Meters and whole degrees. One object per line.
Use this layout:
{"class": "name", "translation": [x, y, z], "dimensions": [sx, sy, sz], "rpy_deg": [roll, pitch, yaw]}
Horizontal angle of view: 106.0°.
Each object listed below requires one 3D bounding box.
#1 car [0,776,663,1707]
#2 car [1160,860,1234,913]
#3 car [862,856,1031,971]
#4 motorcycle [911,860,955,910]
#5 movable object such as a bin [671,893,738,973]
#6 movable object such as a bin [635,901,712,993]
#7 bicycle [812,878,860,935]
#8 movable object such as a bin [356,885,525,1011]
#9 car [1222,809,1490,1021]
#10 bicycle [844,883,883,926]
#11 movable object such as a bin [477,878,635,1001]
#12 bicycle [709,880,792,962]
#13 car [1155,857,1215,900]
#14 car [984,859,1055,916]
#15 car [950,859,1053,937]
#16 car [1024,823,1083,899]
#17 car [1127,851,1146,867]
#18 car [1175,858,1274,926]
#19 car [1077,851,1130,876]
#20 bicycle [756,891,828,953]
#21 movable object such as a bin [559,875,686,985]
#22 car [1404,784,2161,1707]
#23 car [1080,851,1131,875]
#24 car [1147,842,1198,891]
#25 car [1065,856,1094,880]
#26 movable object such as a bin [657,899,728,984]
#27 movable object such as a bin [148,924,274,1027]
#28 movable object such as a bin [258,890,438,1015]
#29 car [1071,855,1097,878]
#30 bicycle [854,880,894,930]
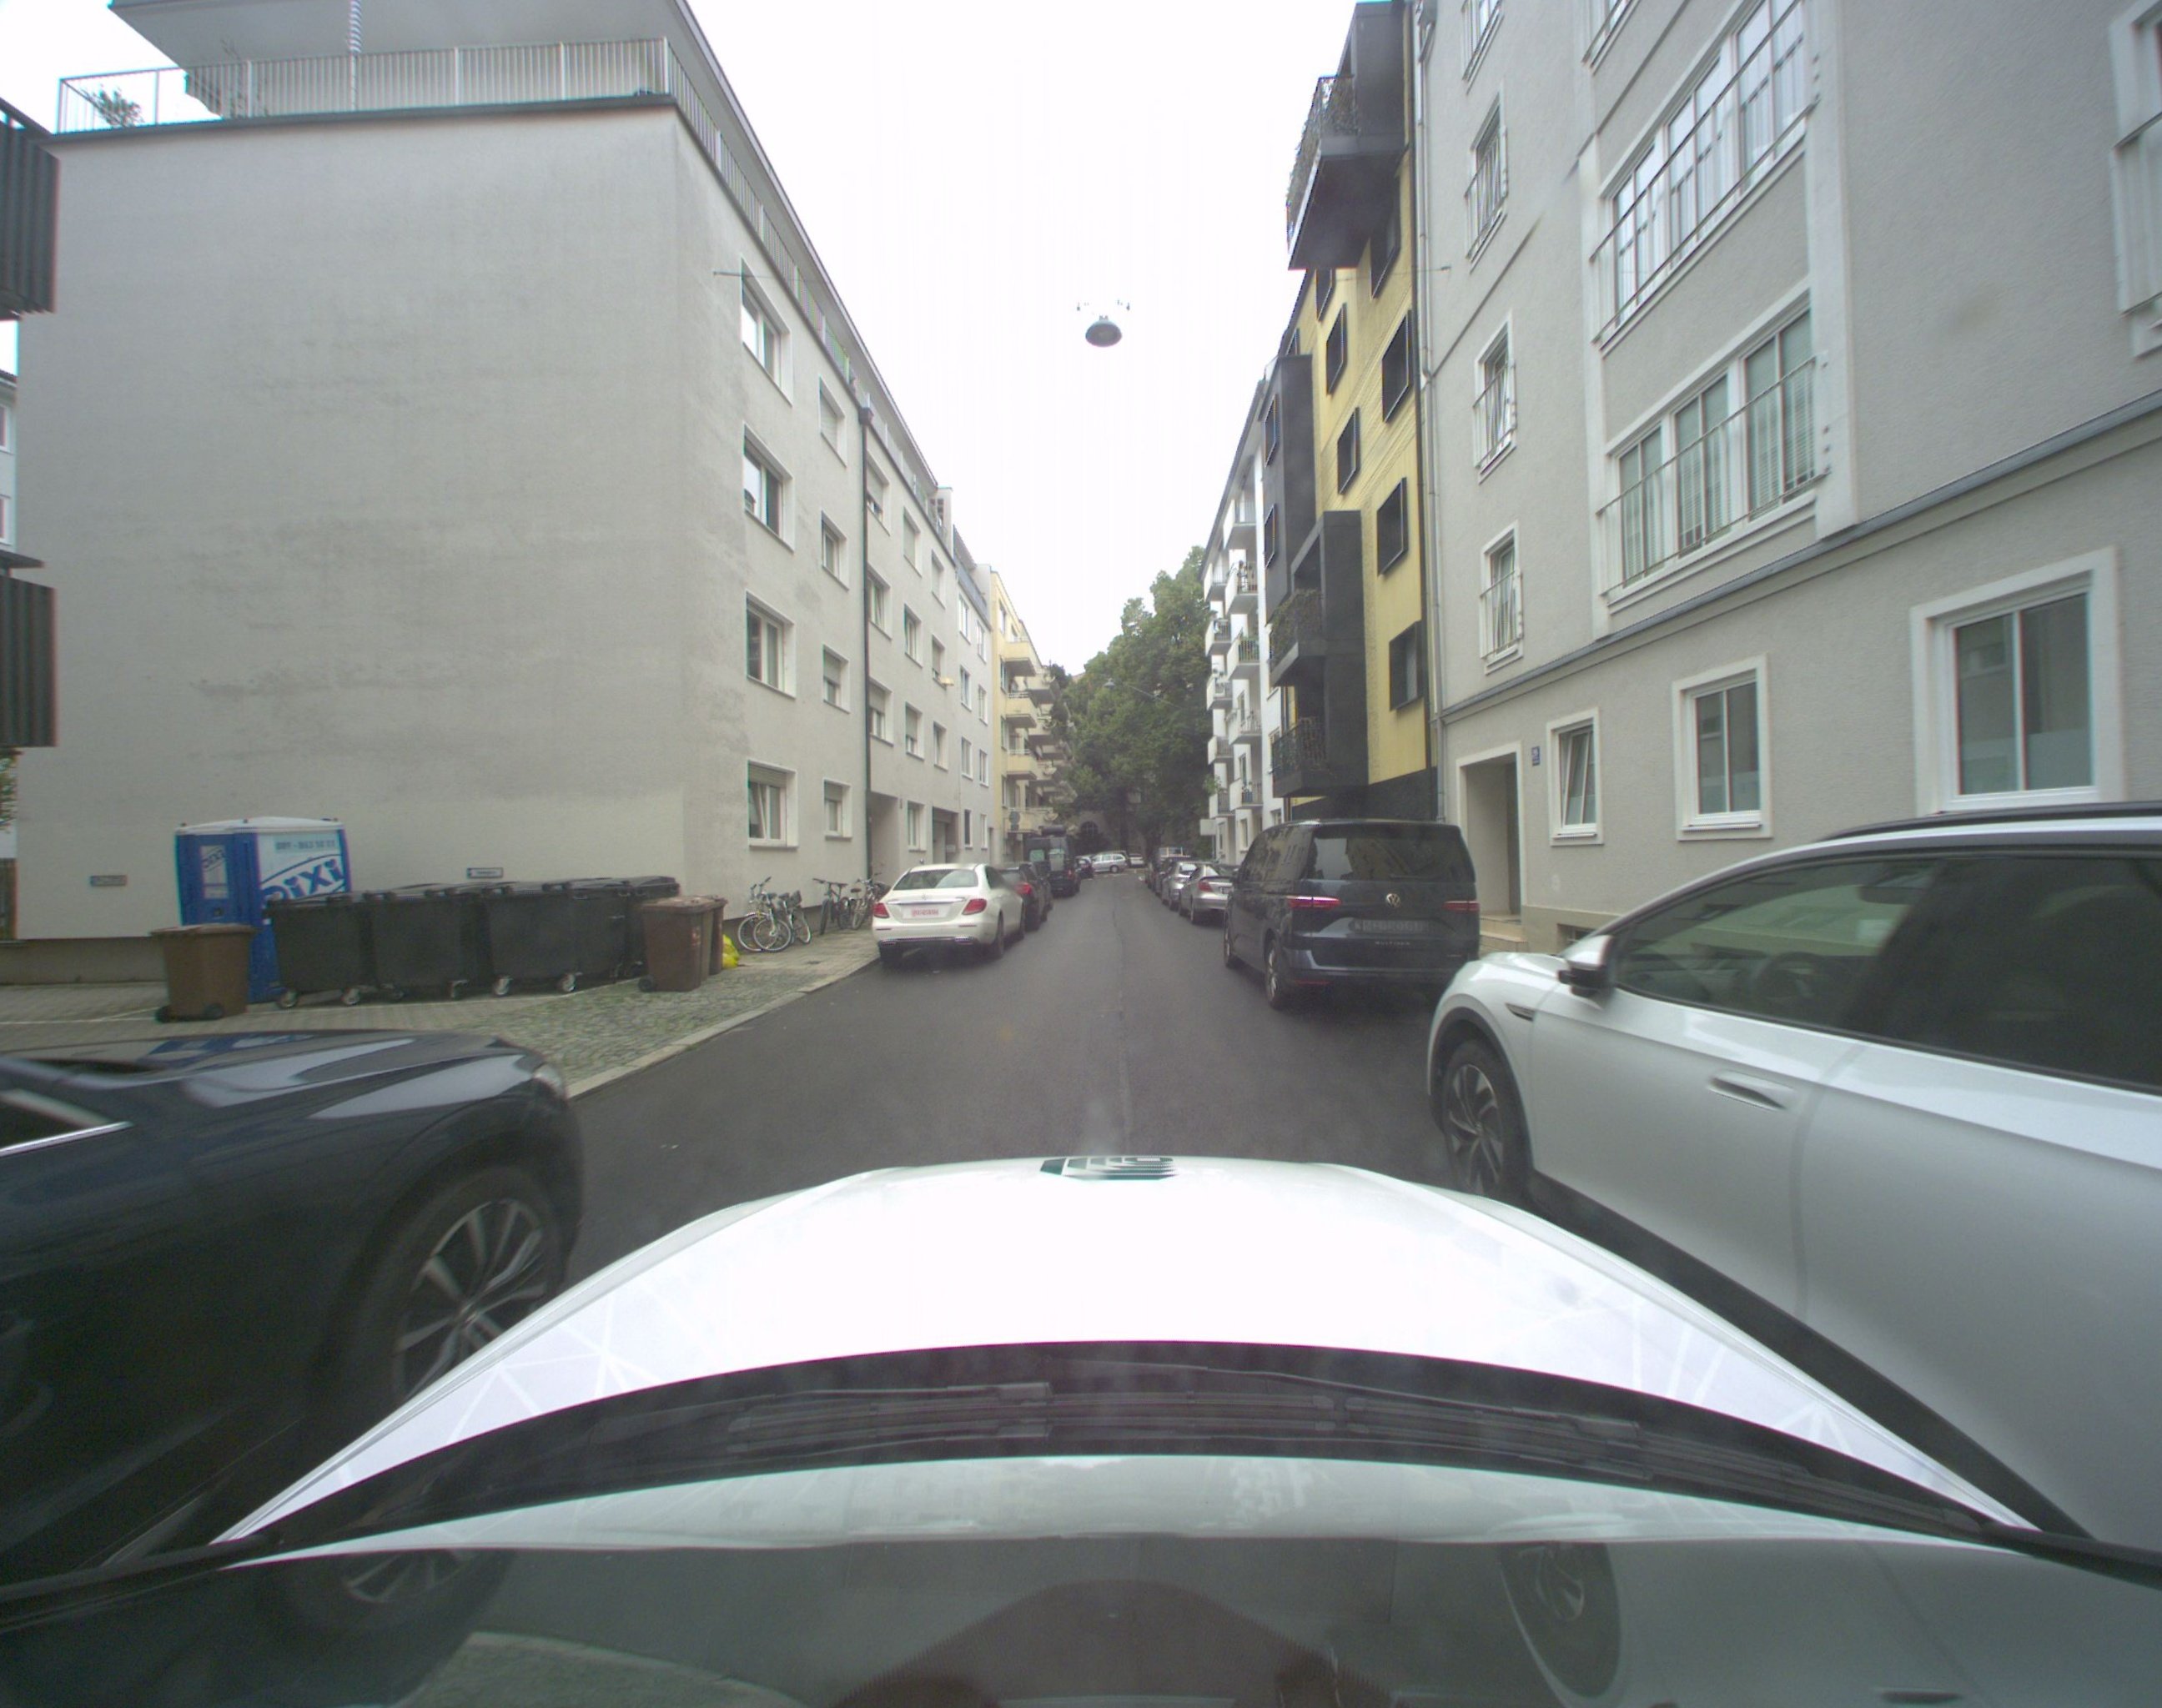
{"class": "car", "translation": [-2.461, 0.737, 0.623], "dimensions": [1.769, 1.629, 4.418], "rpy_deg": [-2, 0, 3]}
{"class": "car", "translation": [3.568, 0.955, 25.701], "dimensions": [1.822, 1.454, 4.417], "rpy_deg": [2, 0, 2]}
{"class": "car", "translation": [-2.030, 0.840, 13.664], "dimensions": [1.769, 1.487, 4.522], "rpy_deg": [-4, 0, 3]}
{"class": "motorcycle", "translation": [-4.258, 0.869, 23.627], "dimensions": [0.677, 1.350, 2.488], "rpy_deg": [-1, 0, 3]}
{"class": "movable object such as a bin", "translation": [-5.106, 1.063, 11.082], "dimensions": [0.649, 1.020, 0.584], "rpy_deg": [0, 0, -4]}
{"class": "movable object such as a bin", "translation": [-4.890, 1.104, 9.808], "dimensions": [0.649, 1.020, 0.584], "rpy_deg": [0, 1, -4]}
{"class": "bicycle", "translation": [-5.007, 1.047, 16.741], "dimensions": [0.394, 1.051, 1.761], "rpy_deg": [0, 0, 2]}
{"class": "movable object such as a bin", "translation": [-7.617, 1.087, 9.745], "dimensions": [1.152, 1.337, 0.994], "rpy_deg": [-4, -1, 5]}
{"class": "car", "translation": [2.868, 0.547, 9.591], "dimensions": [1.822, 1.910, 4.418], "rpy_deg": [0, 0, 2]}
{"class": "bicycle", "translation": [-4.921, 1.118, 18.470], "dimensions": [0.394, 0.869, 1.615], "rpy_deg": [0, 0, 2]}
{"class": "movable object such as a bin", "translation": [-6.364, 1.006, 9.938], "dimensions": [1.161, 1.337, 1.027], "rpy_deg": [-4, -1, 5]}
{"class": "bicycle", "translation": [-5.262, 1.018, 13.095], "dimensions": [0.394, 1.068, 2.134], "rpy_deg": [0, 2, 2]}
{"class": "car", "translation": [3.831, 0.850, 30.673], "dimensions": [1.822, 1.454, 4.417], "rpy_deg": [2, 0, 2]}
{"class": "car", "translation": [-1.732, 0.926, 23.826], "dimensions": [1.636, 1.453, 3.163], "rpy_deg": [-4, 0, 2]}
{"class": "car", "translation": [-1.705, 0.918, 18.779], "dimensions": [1.770, 1.453, 4.048], "rpy_deg": [-4, 0, 2]}
{"class": "car", "translation": [-1.062, 0.273, 33.435], "dimensions": [1.929, 2.801, 4.534], "rpy_deg": [-4, 0, 2]}
{"class": "car", "translation": [5.359, 0.508, 78.873], "dimensions": [1.636, 1.383, 3.747], "rpy_deg": [-4, 0, 2]}
{"class": "car", "translation": [3.478, 0.865, 20.532], "dimensions": [1.822, 1.454, 4.417], "rpy_deg": [2, 0, 2]}
{"class": "car", "translation": [1.681, 0.724, 61.925], "dimensions": [3.872, 1.584, 1.648], "rpy_deg": [-4, 0, 0]}
{"class": "bicycle", "translation": [-4.881, 1.121, 13.877], "dimensions": [0.394, 0.869, 2.134], "rpy_deg": [0, 0, 2]}
{"class": "movable object such as a bin", "translation": [-6.169, 0.998, 11.011], "dimensions": [1.042, 1.337, 0.994], "rpy_deg": [-4, -1, 5]}
{"class": "car", "translation": [2.380, 0.702, 1.844], "dimensions": [1.675, 1.567, 4.418], "rpy_deg": [1, 0, 2]}
{"class": "car", "translation": [1.892, 0.664, 63.874], "dimensions": [3.872, 1.584, 1.648], "rpy_deg": [-4, 0, 0]}
{"class": "car", "translation": [3.967, 0.520, 35.985], "dimensions": [1.822, 1.999, 4.417], "rpy_deg": [2, 0, 2]}
{"class": "car", "translation": [-0.053, 0.847, 52.029], "dimensions": [1.636, 1.383, 3.484], "rpy_deg": [-4, 0, 2]}
{"class": "movable object such as a bin", "translation": [-4.988, 1.112, 10.482], "dimensions": [0.649, 1.020, 0.584], "rpy_deg": [0, 0, -4]}
{"class": "movable object such as a bin", "translation": [-9.965, 1.378, 9.352], "dimensions": [0.647, 1.044, 0.698], "rpy_deg": [-4, -1, 5]}
{"class": "movable object such as a bin", "translation": [-8.897, 1.166, 9.938], "dimensions": [1.225, 1.337, 0.994], "rpy_deg": [-4, -1, 5]}
{"class": "car", "translation": [0.243, 0.838, 55.962], "dimensions": [1.636, 1.383, 3.484], "rpy_deg": [-4, 0, 2]}
{"class": "bicycle", "translation": [-4.476, 1.084, 17.696], "dimensions": [0.394, 0.982, 1.656], "rpy_deg": [0, 0, 2]}
